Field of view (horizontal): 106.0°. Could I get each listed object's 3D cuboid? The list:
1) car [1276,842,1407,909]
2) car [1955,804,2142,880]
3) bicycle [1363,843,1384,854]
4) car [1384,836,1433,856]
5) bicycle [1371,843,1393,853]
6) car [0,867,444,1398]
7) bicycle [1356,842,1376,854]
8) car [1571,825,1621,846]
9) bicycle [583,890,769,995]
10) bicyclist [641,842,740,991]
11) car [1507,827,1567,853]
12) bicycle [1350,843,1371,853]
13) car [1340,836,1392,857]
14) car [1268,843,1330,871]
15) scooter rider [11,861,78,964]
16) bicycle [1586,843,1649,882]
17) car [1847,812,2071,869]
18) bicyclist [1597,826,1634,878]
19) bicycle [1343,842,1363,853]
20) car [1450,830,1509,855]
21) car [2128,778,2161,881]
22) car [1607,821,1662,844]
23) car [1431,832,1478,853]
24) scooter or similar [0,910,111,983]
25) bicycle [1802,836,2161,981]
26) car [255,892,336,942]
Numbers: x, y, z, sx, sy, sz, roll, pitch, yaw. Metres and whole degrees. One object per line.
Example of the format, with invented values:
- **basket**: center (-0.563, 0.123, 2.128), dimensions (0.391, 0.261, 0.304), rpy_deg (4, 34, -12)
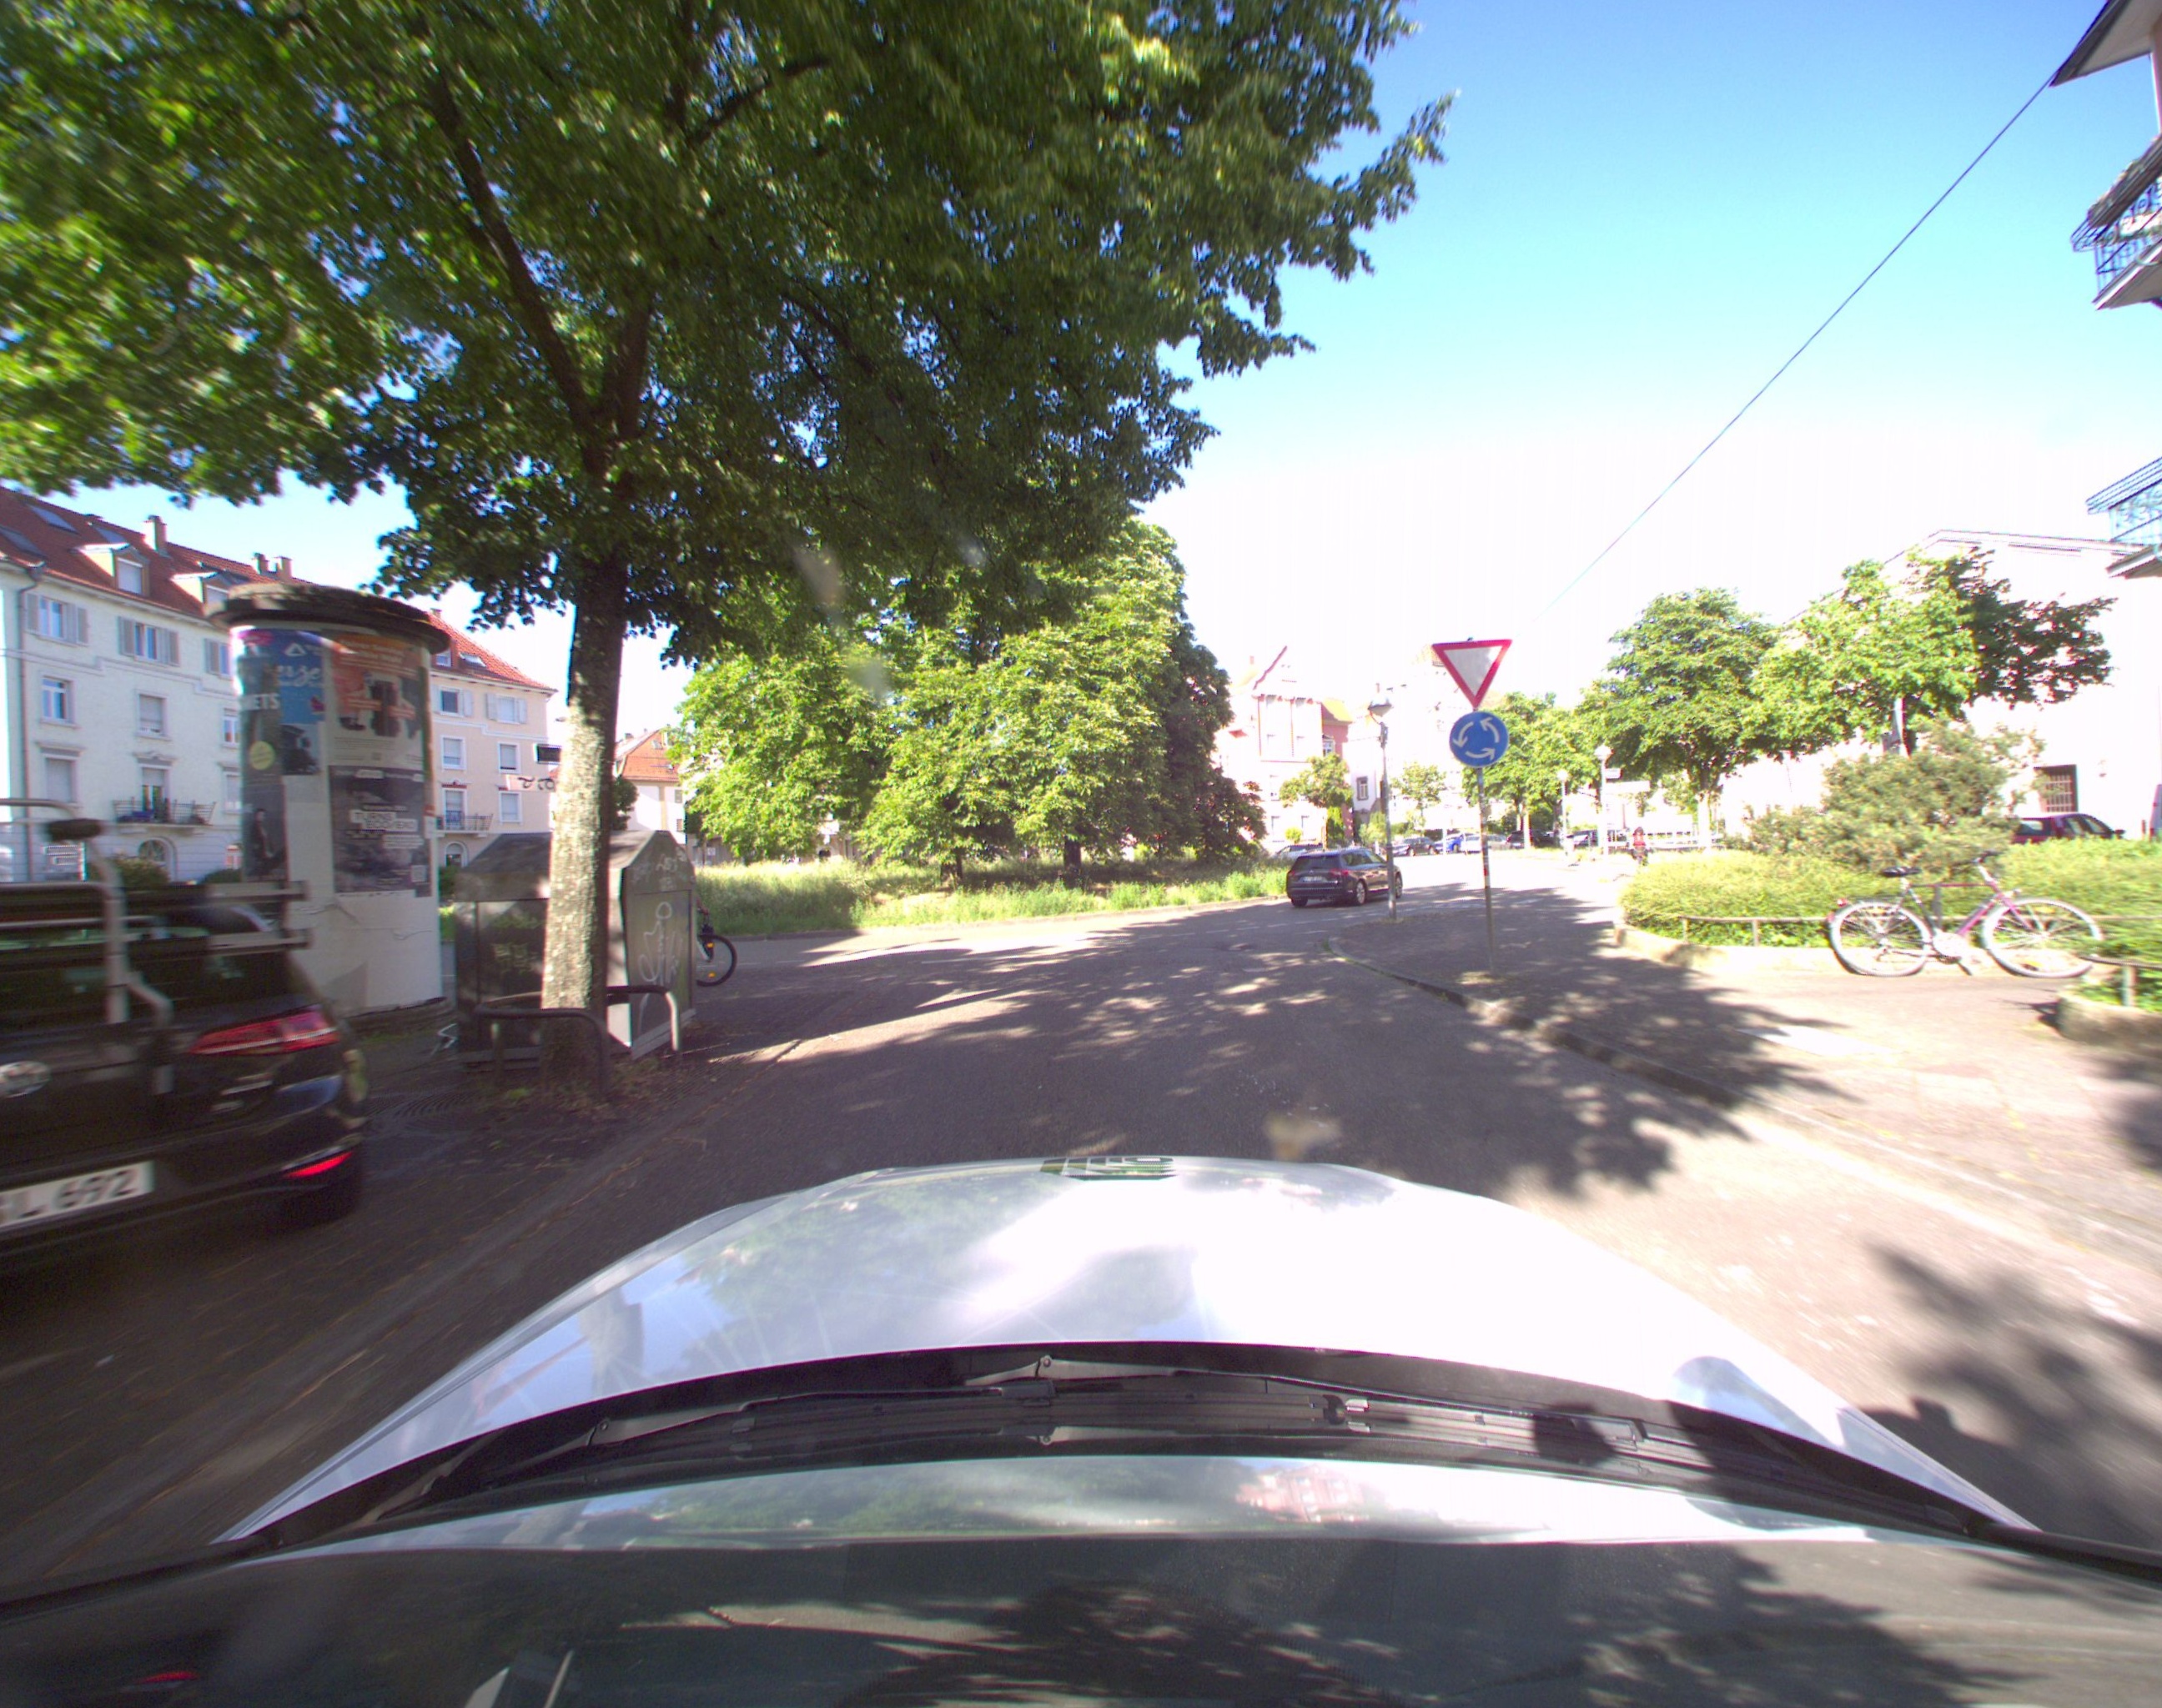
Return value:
- **car**: center (6.992, 0.517, 21.617), dimensions (1.698, 1.483, 4.170), rpy_deg (-3, 0, 42)
- **car**: center (21.262, -0.272, 17.904), dimensions (3.516, 1.472, 1.561), rpy_deg (-3, 0, -21)
- **bicycle**: center (23.667, -0.444, 65.925), dimensions (0.477, 0.822, 2.279), rpy_deg (-3, 0, -9)
- **car**: center (25.415, -0.629, 63.143), dimensions (3.660, 1.369, 1.741), rpy_deg (-3, 0, -36)
- **bicycle**: center (24.419, -0.463, 66.133), dimensions (0.624, 0.786, 2.279), rpy_deg (-3, 0, -9)
- **car**: center (-4.583, 0.853, 3.688), dimensions (4.088, 1.481, 1.787), rpy_deg (-2, -1, 39)
- **bicycle**: center (22.877, -0.477, 65.384), dimensions (0.477, 0.914, 2.279), rpy_deg (-3, 0, -9)
- **car**: center (38.879, -1.411, 61.512), dimensions (3.465, 1.436, 1.646), rpy_deg (-3, 0, -27)
- **bicycle**: center (-5.096, 1.089, 10.354), dimensions (1.959, 1.144, 0.663), rpy_deg (-3, 0, -11)
- **bicyclist**: center (-4.954, 0.761, 10.392), dimensions (0.886, 1.784, 0.796), rpy_deg (-2, 0, -11)
- **car**: center (29.076, -0.900, 51.930), dimensions (3.748, 1.455, 1.546), rpy_deg (-3, 0, -29)
- **bicycle**: center (22.270, -0.472, 64.946), dimensions (0.477, 0.800, 2.279), rpy_deg (-3, 0, -9)
- **car**: center (21.018, -0.525, 60.084), dimensions (3.658, 1.369, 1.741), rpy_deg (-3, 0, -33)
- **car**: center (13.112, 0.199, 49.098), dimensions (1.564, 1.552, 3.614), rpy_deg (-3, 0, -27)
- **scooter rider**: center (-20.128, 1.126, 15.818), dimensions (0.611, 1.933, 0.560), rpy_deg (-3, 0, 16)
- **bicycle**: center (15.009, 0.227, 22.840), dimensions (0.505, 1.036, 1.875), rpy_deg (-3, 0, 1)
- **car**: center (24.352, -0.356, 22.832), dimensions (3.948, 1.387, 1.753), rpy_deg (-3, 0, 35)
- **bicyclist**: center (15.026, -0.059, 22.906), dimensions (0.507, 1.416, 0.741), rpy_deg (-3, 0, 0)
- **bicycle**: center (21.631, -0.520, 64.825), dimensions (0.478, 0.800, 2.018), rpy_deg (-3, 0, -14)
- **car**: center (26.771, -0.762, 54.715), dimensions (3.988, 1.455, 1.545), rpy_deg (-3, 0, -29)
- **car**: center (23.339, -0.579, 16.129), dimensions (4.000, 2.013, 1.987), rpy_deg (-3, 0, -19)
- **car**: center (40.477, -1.565, 59.569), dimensions (3.794, 1.455, 1.779), rpy_deg (-3, 0, -29)
- **car**: center (30.019, -0.900, 65.479), dimensions (3.487, 1.488, 1.655), rpy_deg (-3, 0, -30)
- **scooter or similar**: center (-19.916, 1.794, 15.754), dimensions (2.101, 1.310, 0.566), rpy_deg (-3, 0, 14)
- **bicycle**: center (7.810, 0.474, 7.113), dimensions (2.202, 1.159, 0.390), rpy_deg (-3, 0, 25)
- **car**: center (-29.310, 2.280, 30.346), dimensions (4.075, 1.607, 2.012), rpy_deg (-3, 0, 45)
